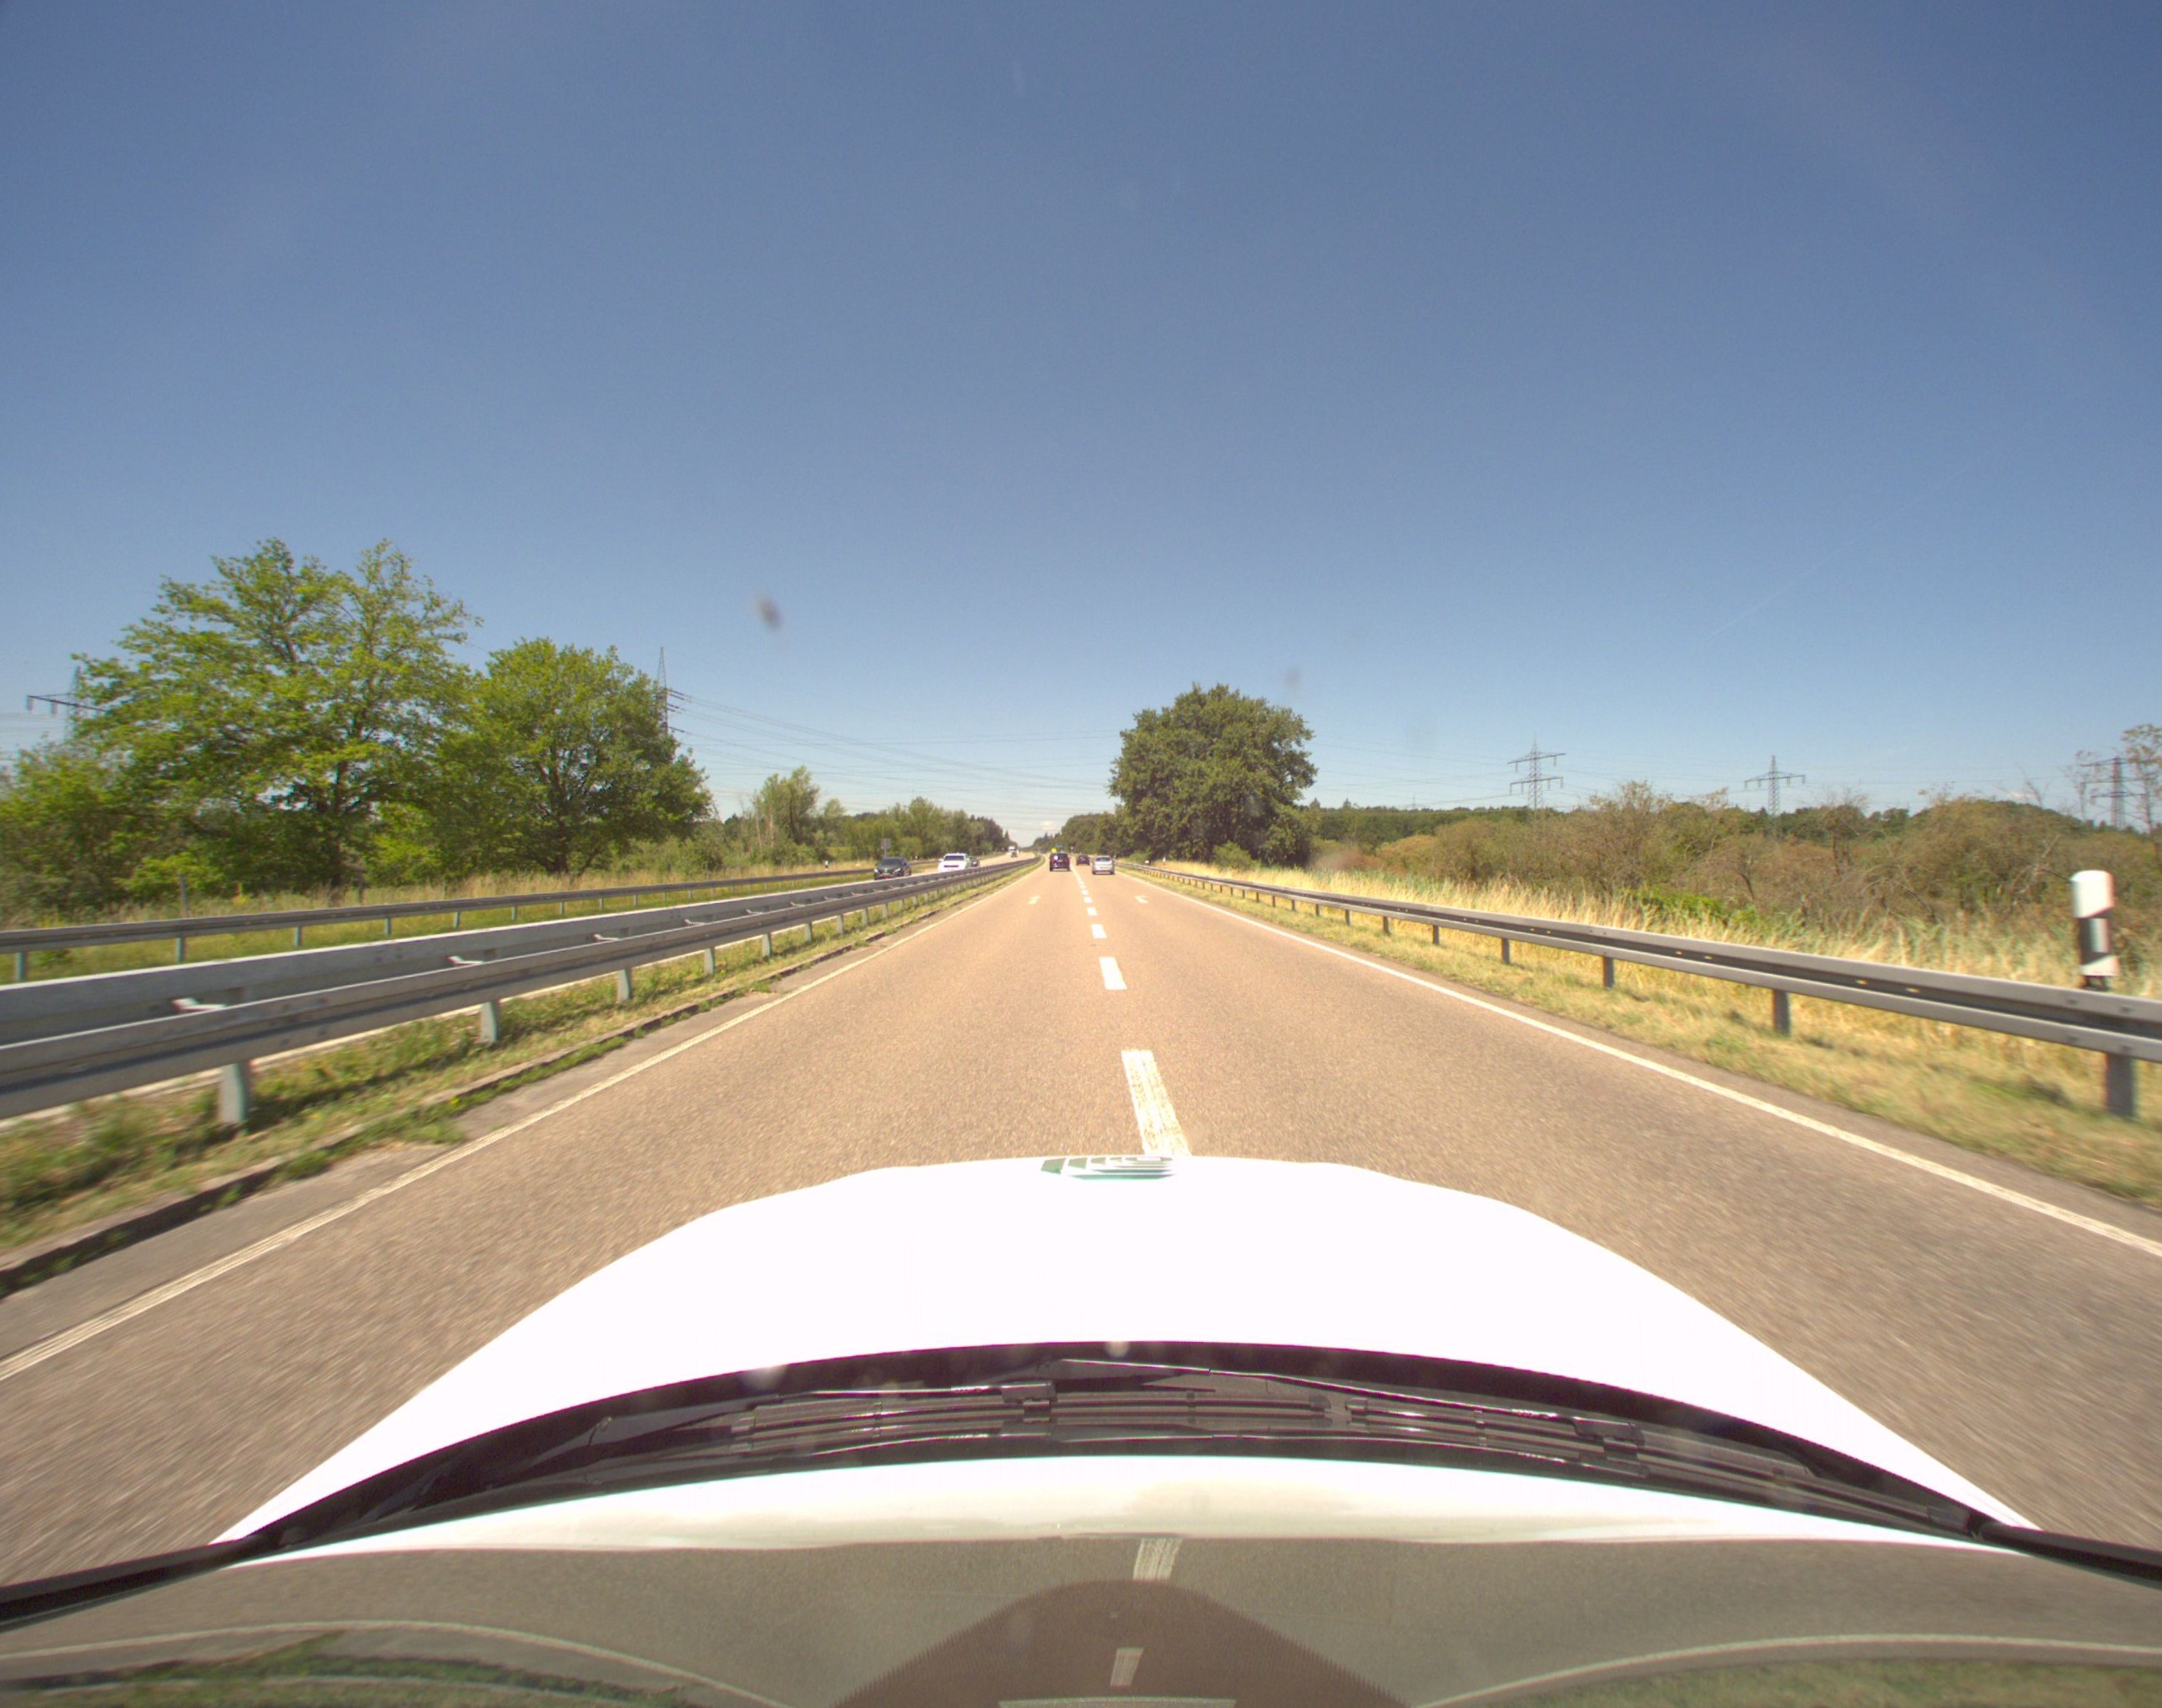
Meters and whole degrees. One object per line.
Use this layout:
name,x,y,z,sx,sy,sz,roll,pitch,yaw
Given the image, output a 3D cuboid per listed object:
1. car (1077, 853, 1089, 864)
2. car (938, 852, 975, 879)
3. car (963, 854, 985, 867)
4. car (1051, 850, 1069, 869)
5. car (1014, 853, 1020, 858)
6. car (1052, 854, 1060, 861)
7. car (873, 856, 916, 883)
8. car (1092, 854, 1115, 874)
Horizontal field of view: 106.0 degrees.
car,0.291,0.572,108.965,1.635,1.342,3.574,2,0,0
car,-8.838,0.804,58.223,1.974,1.807,4.966,-1,0,-1
car,-12.545,0.719,95.911,1.918,1.385,4.657,-1,0,0
car,-1.944,0.490,76.852,1.635,1.654,3.572,2,0,-1
car,-18.303,0.463,232.424,1.842,1.413,4.672,-1,0,-5
car,-6.019,0.824,193.609,1.709,1.471,3.569,2,0,-4
car,-12.000,0.965,52.636,1.837,1.618,4.169,-1,0,-1
car,1.719,0.764,64.005,1.635,1.468,3.417,2,0,-1
